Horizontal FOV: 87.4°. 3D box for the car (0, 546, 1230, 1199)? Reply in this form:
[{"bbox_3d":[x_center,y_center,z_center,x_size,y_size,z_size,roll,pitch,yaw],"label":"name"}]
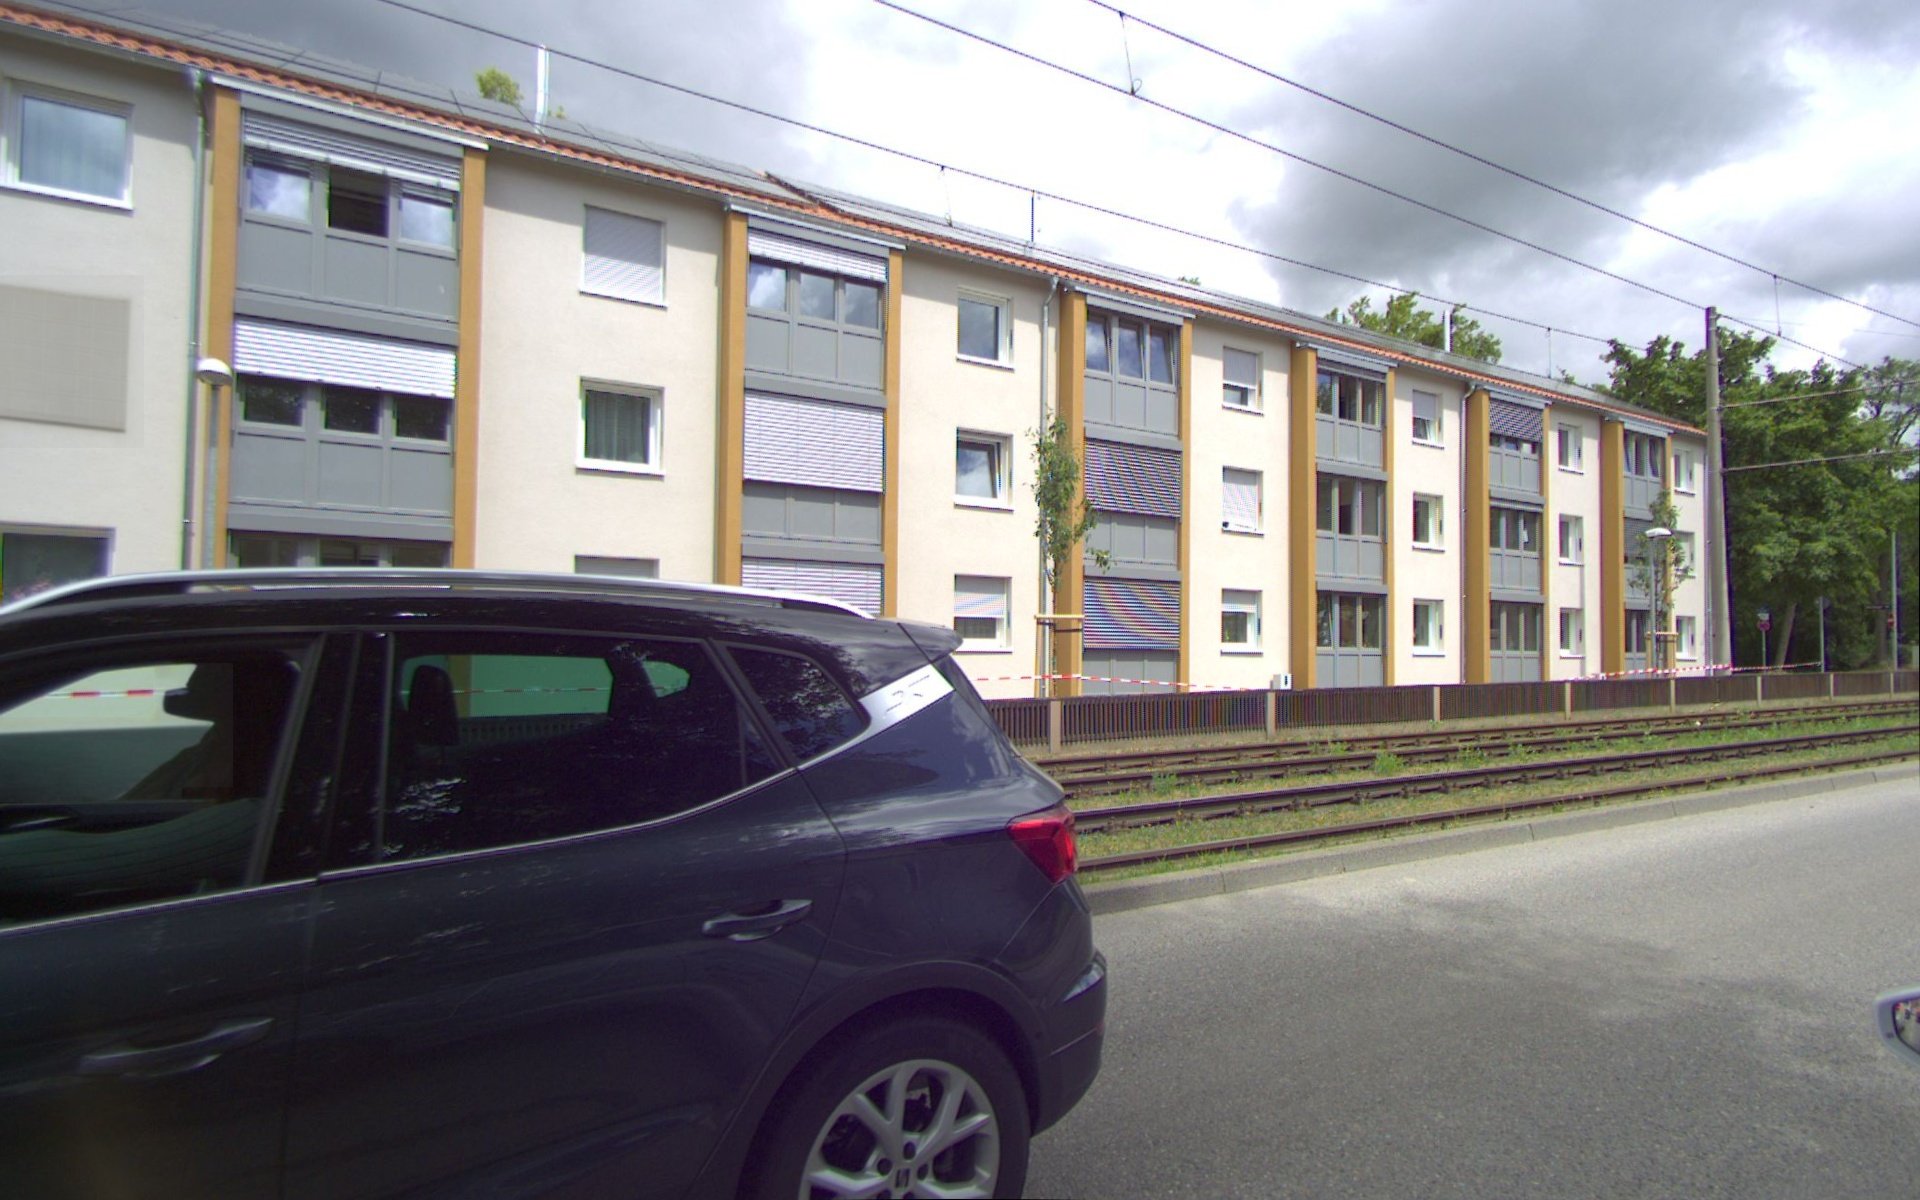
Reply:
[{"bbox_3d":[-1.409,0.713,2.130,3.820,1.540,1.642,1,-1,-31],"label":"car"}]
